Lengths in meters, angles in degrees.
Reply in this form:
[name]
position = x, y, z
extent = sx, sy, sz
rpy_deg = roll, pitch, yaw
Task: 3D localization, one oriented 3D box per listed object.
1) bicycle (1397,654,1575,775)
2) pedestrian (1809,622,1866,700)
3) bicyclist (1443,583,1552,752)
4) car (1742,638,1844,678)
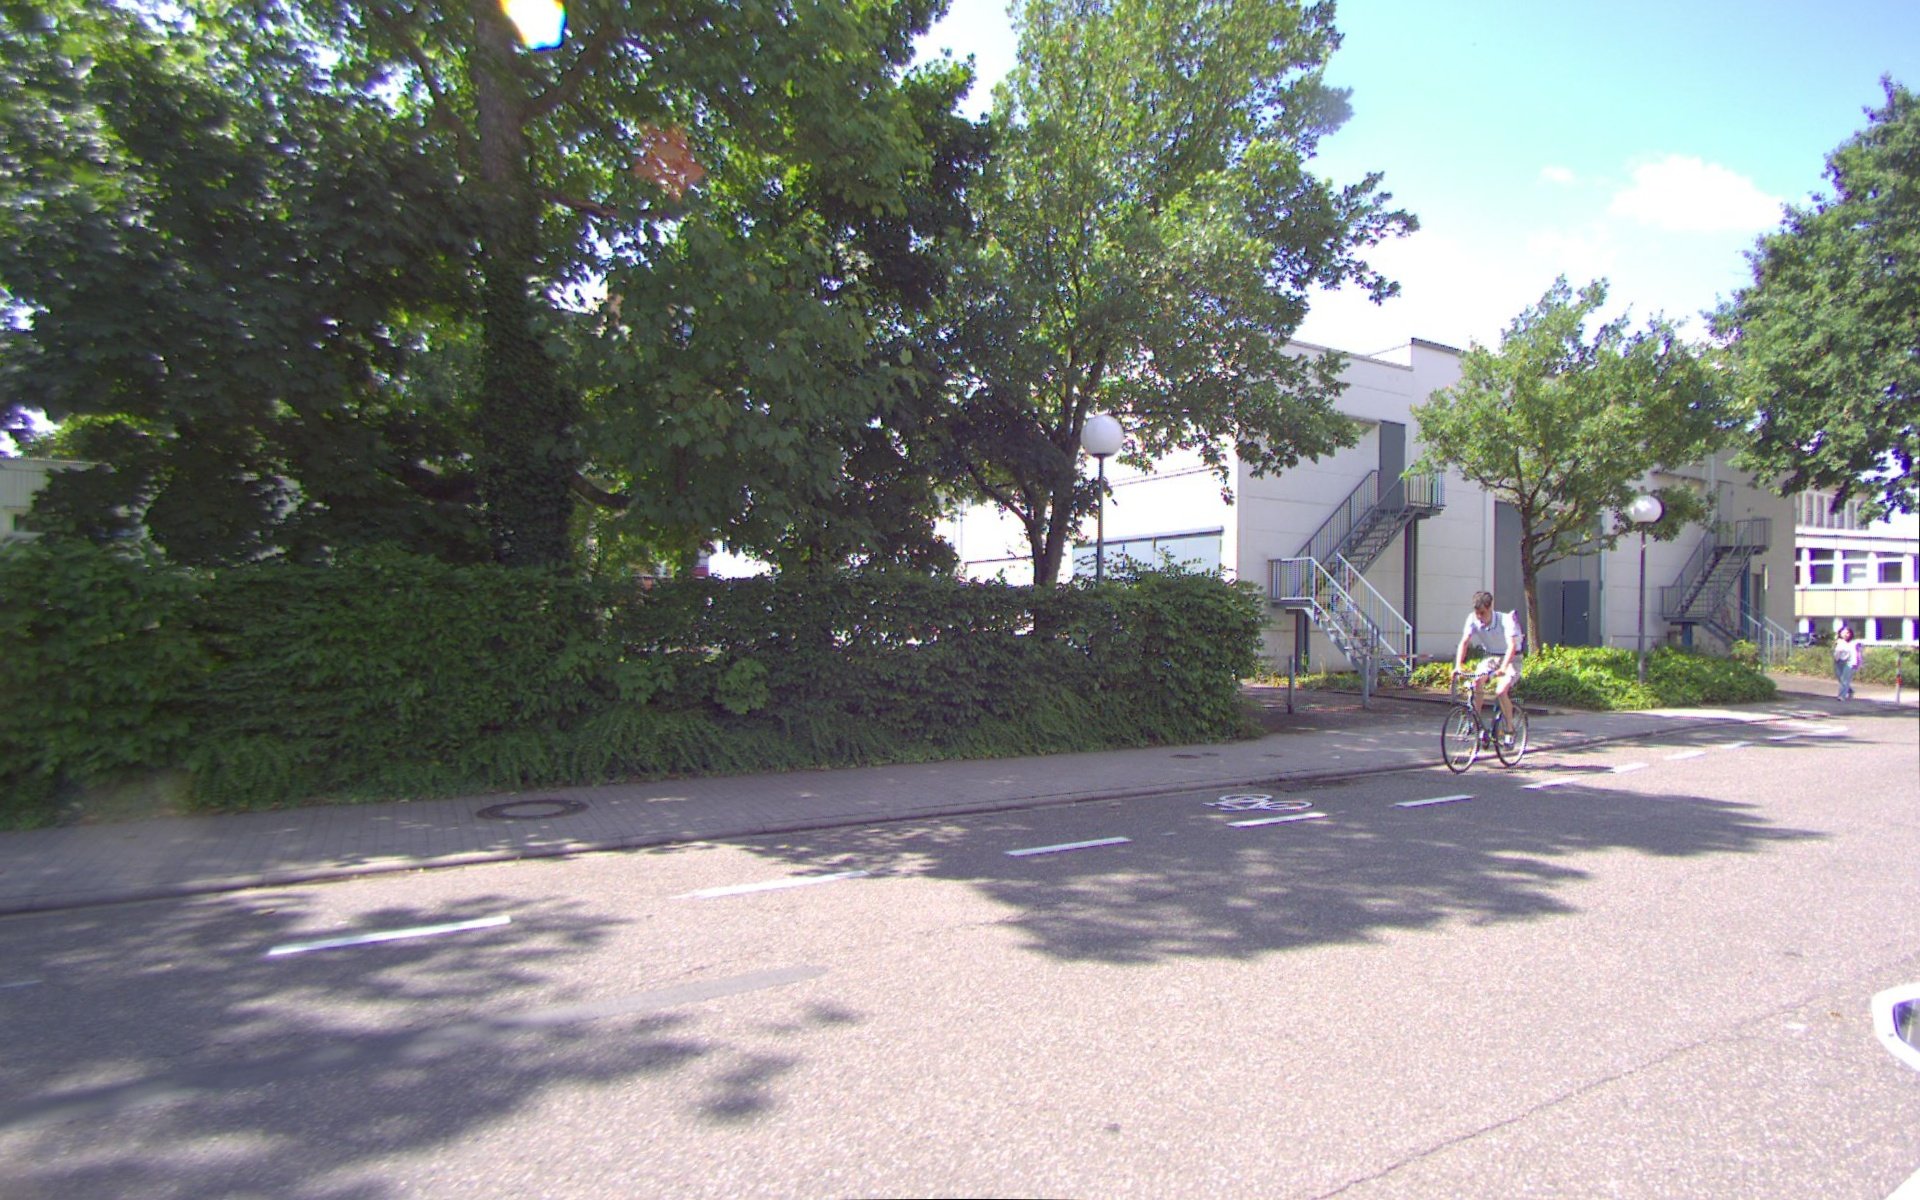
[bicycle]
position = 5.724, 1.193, 10.884
extent = 2.184, 1.186, 0.689
rpy_deg = 2, -2, -31
[pedestrian]
position = 19.051, 1.312, 21.804
extent = 0.873, 1.648, 0.709
rpy_deg = 1, -1, -31
[bicyclist]
position = 5.880, 0.724, 10.987
extent = 0.908, 1.759, 0.689
rpy_deg = 2, -2, -31
[car]
position = 32.605, 2.234, 39.302
extent = 4.250, 1.486, 1.819
rpy_deg = 1, -1, -31
